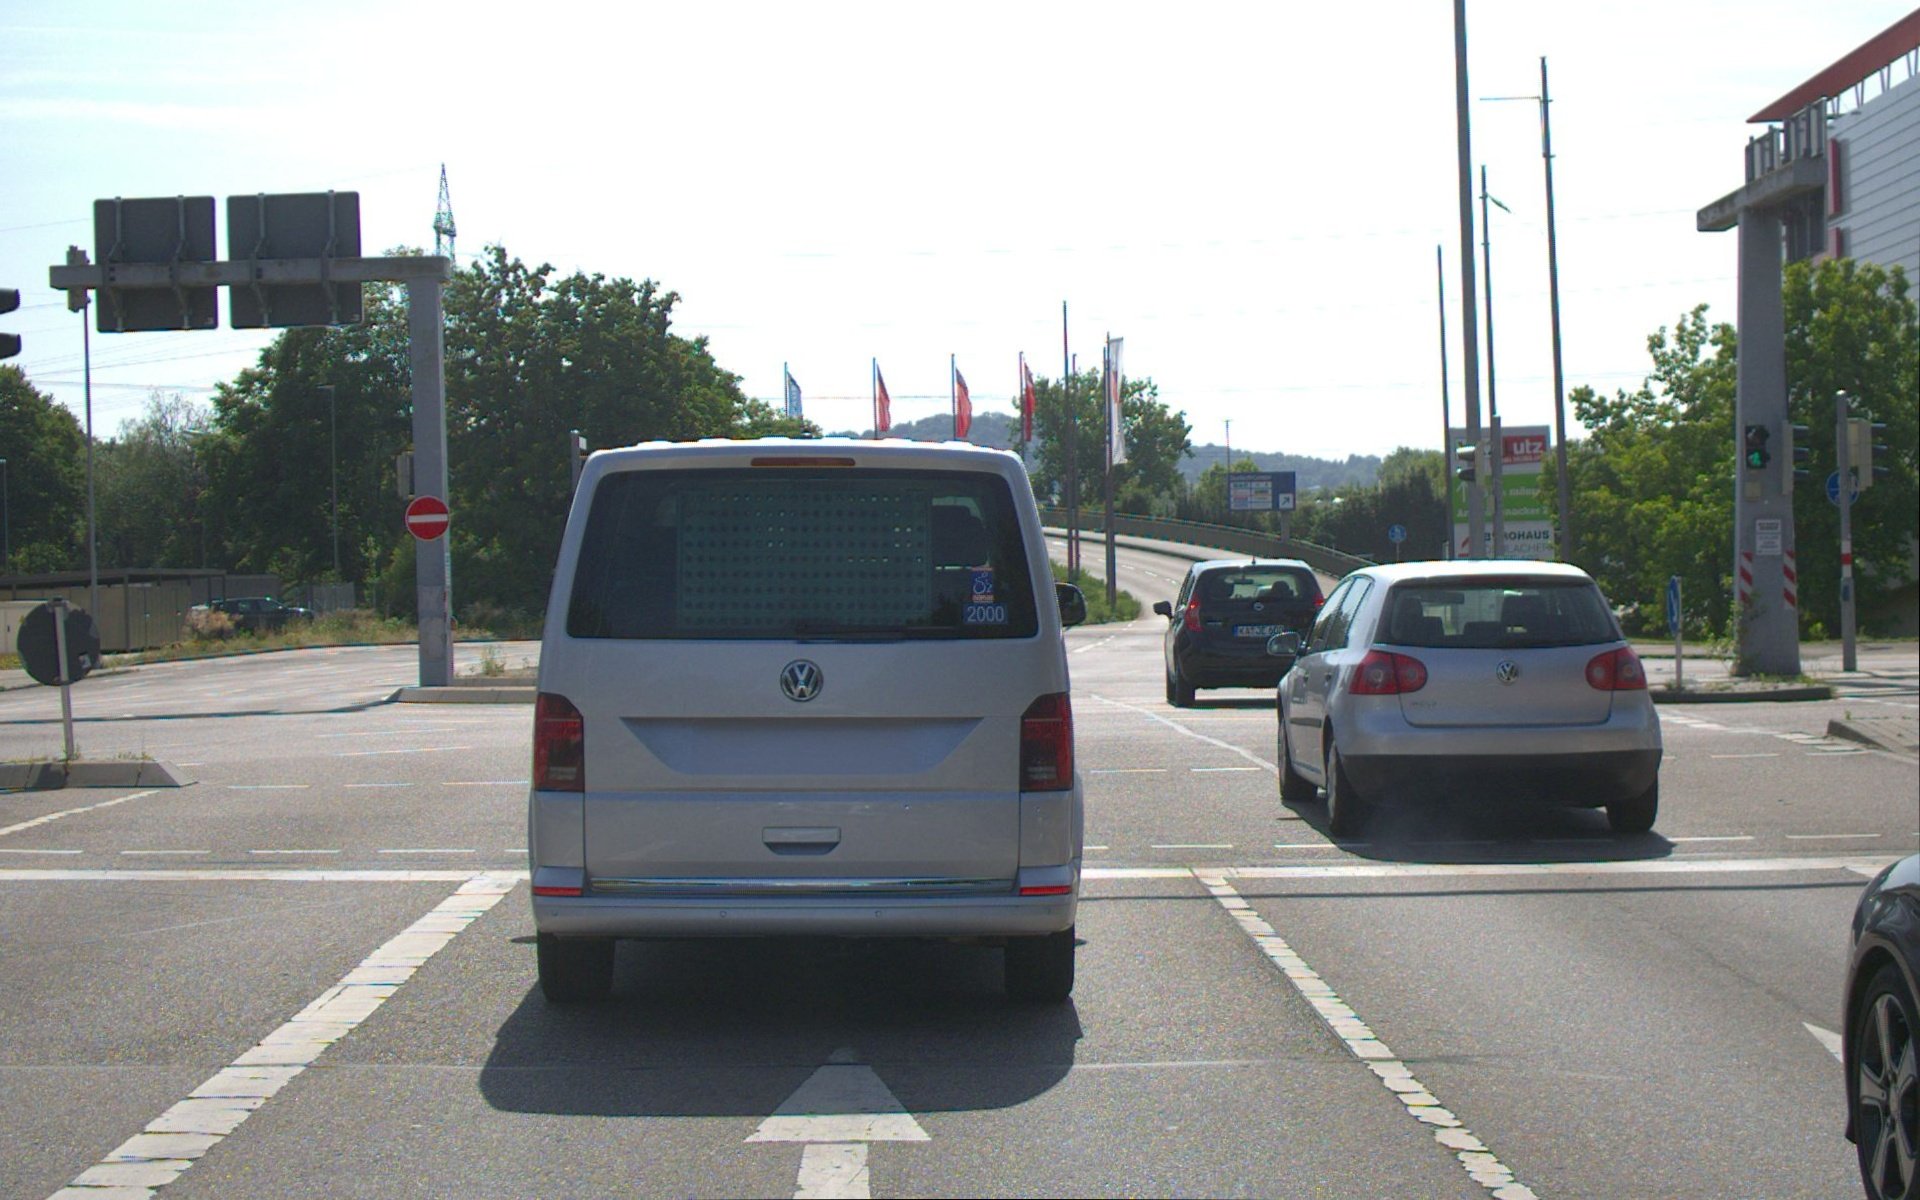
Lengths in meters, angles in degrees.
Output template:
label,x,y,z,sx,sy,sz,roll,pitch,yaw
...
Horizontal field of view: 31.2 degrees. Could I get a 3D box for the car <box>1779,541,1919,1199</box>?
label,x,y,z,sx,sy,sz,roll,pitch,yaw
car,2.886,0.663,6.125,1.773,1.533,4.138,0,1,-1

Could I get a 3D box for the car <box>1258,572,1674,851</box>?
label,x,y,z,sx,sy,sz,roll,pitch,yaw
car,2.738,0.552,19.336,1.666,1.409,3.683,0,0,-2

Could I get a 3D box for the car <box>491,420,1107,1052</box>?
label,x,y,z,sx,sy,sz,roll,pitch,yaw
car,-0.522,0.406,12.876,1.917,1.968,4.297,0,0,-1

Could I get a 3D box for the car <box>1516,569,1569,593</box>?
label,x,y,z,sx,sy,sz,roll,pitch,yaw
car,35.817,-1.143,211.476,1.993,1.415,4.001,1,0,-9

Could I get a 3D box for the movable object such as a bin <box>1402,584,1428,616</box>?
label,x,y,z,sx,sy,sz,roll,pitch,yaw
movable object such as a bin,16.043,0.011,121.245,0.810,1.109,1.182,-1,0,5

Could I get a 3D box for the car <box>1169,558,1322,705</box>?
label,x,y,z,sx,sy,sz,roll,pitch,yaw
car,3.017,0.296,36.339,1.531,1.475,3.595,0,0,5

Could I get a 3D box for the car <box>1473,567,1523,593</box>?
label,x,y,z,sx,sy,sz,roll,pitch,yaw
car,33.099,-1.209,211.453,1.883,1.514,4.001,1,0,-9
